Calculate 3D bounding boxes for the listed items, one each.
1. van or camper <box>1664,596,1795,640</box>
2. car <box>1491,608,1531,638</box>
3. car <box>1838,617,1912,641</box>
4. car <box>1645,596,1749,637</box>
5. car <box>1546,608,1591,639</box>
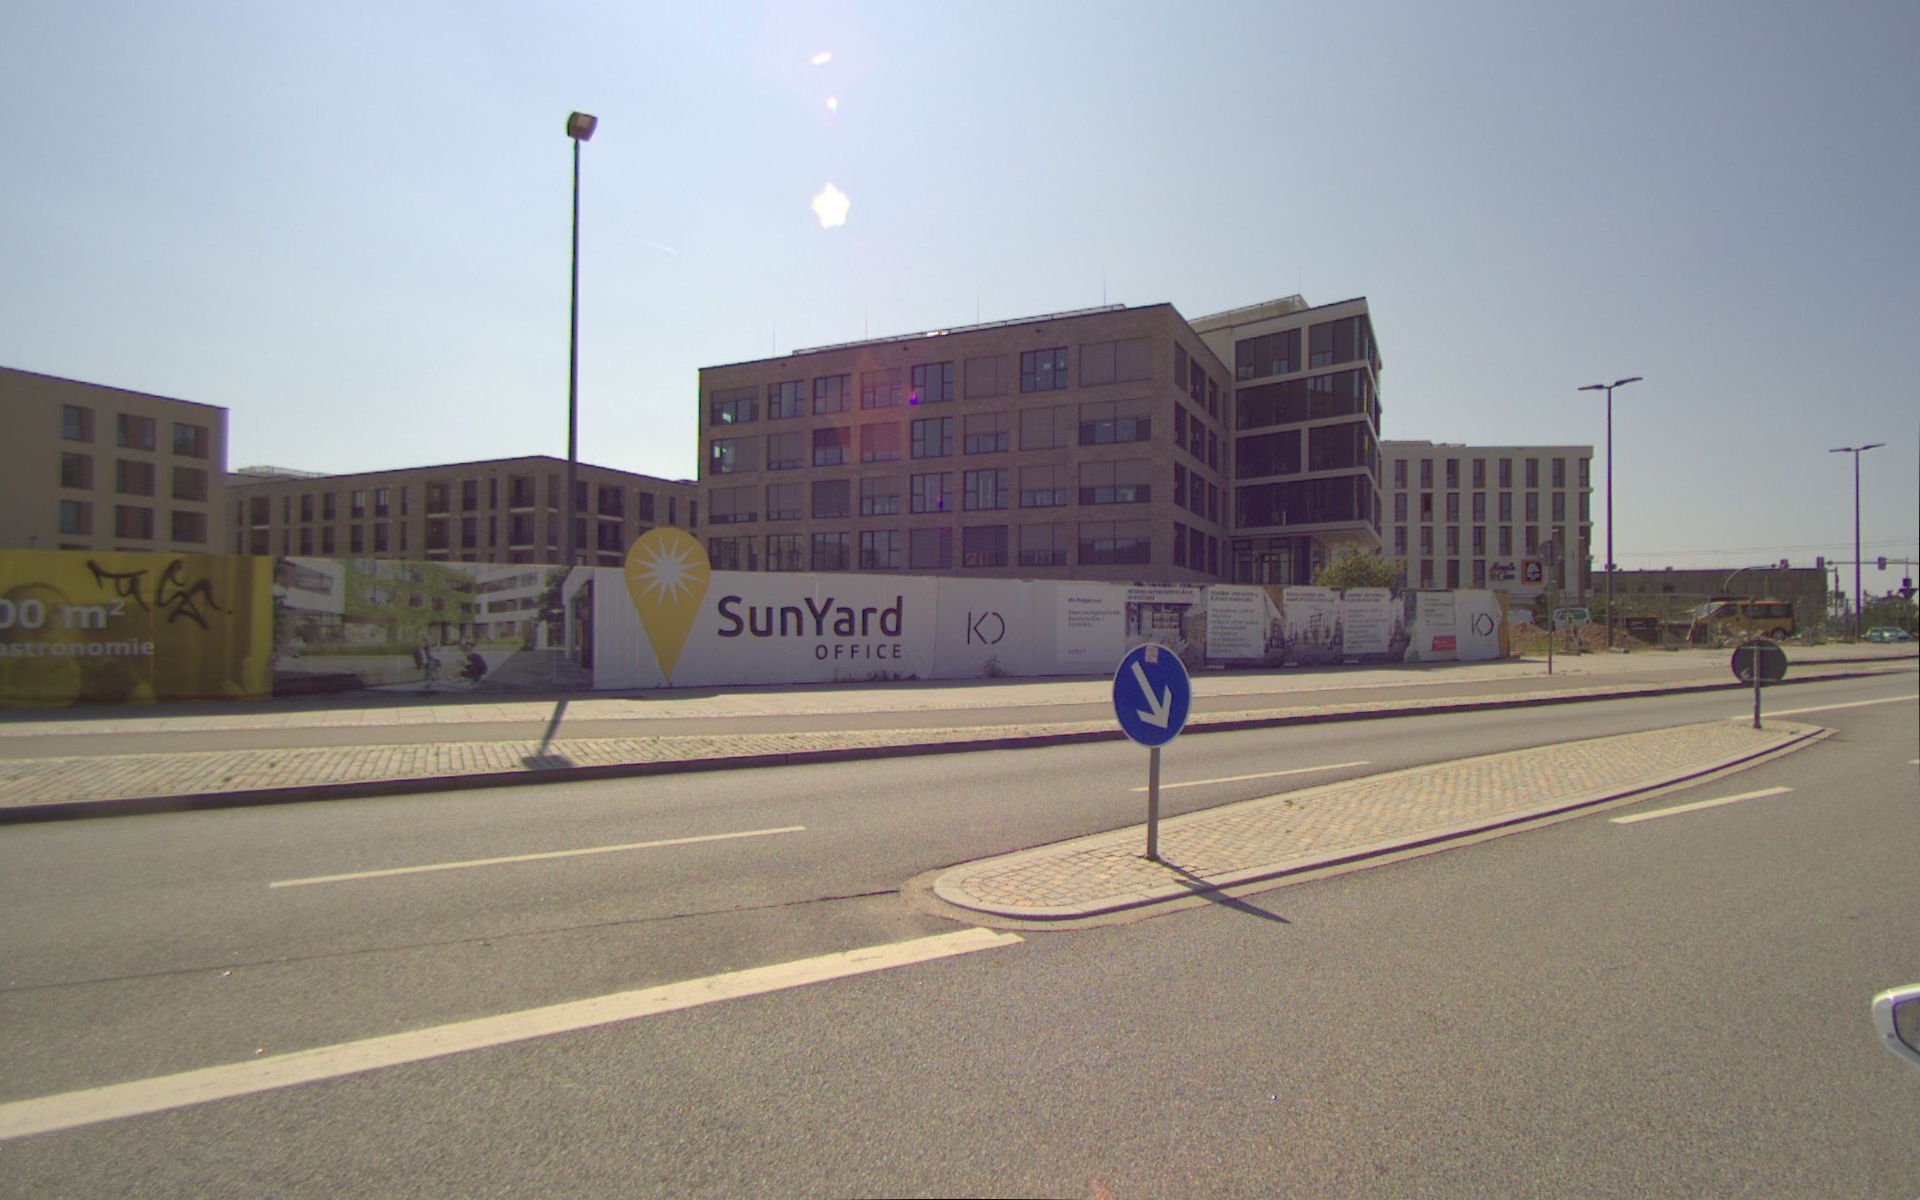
[{"bbox_3d":[37.339,0.878,48.860,4.622,1.922,2.001,2,-1,13],"label":"van or camper"},{"bbox_3d":[32.540,1.356,59.303,1.996,1.694,4.592,0,-1,29],"label":"car"},{"bbox_3d":[75.067,2.333,82.466,1.968,1.795,3.985,2,-1,-17],"label":"car"},{"bbox_3d":[38.424,0.861,52.462,3.919,2.040,2.001,0,-1,9],"label":"car"},{"bbox_3d":[34.745,1.328,57.448,1.996,1.694,4.592,0,-1,29],"label":"car"}]
